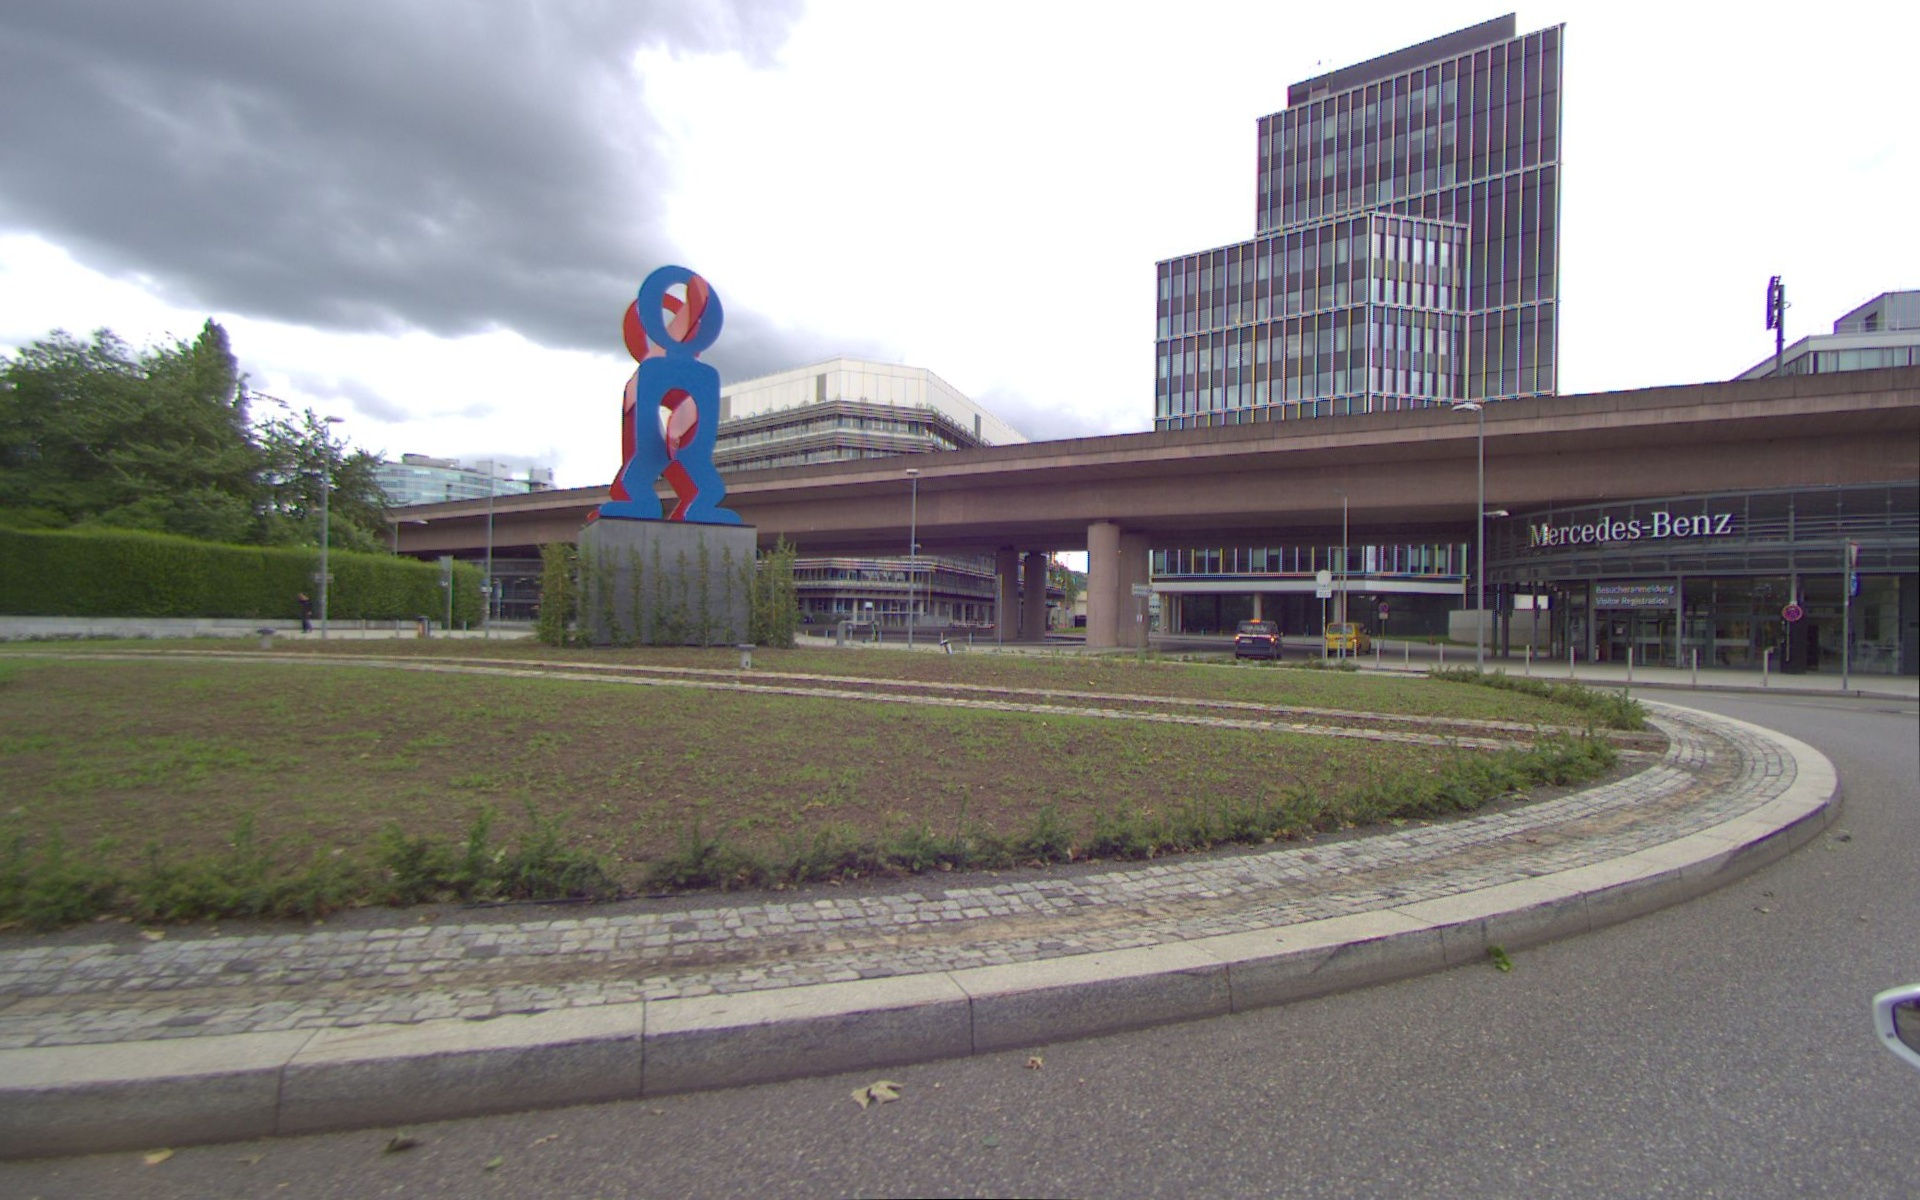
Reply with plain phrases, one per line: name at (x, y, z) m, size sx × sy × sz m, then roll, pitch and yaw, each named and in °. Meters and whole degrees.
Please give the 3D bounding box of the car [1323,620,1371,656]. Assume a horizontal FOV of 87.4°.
car at (22.946, 2.249, 59.497) m, size 1.965 × 2.040 × 3.992 m, roll 1°, pitch -1°, yaw 31°

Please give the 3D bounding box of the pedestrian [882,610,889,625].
pedestrian at (-10.066, 2.369, 136.204) m, size 0.763 × 2.040 × 0.671 m, roll 1°, pitch 0°, yaw 15°

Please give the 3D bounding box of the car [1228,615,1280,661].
car at (14.306, 1.832, 49.140) m, size 2.237 × 2.040 × 4.787 m, roll 2°, pitch -1°, yaw 14°

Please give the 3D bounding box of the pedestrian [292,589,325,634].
pedestrian at (-30.217, 0.521, 46.599) m, size 1.025 × 2.040 × 0.599 m, roll 2°, pitch -1°, yaw 3°
